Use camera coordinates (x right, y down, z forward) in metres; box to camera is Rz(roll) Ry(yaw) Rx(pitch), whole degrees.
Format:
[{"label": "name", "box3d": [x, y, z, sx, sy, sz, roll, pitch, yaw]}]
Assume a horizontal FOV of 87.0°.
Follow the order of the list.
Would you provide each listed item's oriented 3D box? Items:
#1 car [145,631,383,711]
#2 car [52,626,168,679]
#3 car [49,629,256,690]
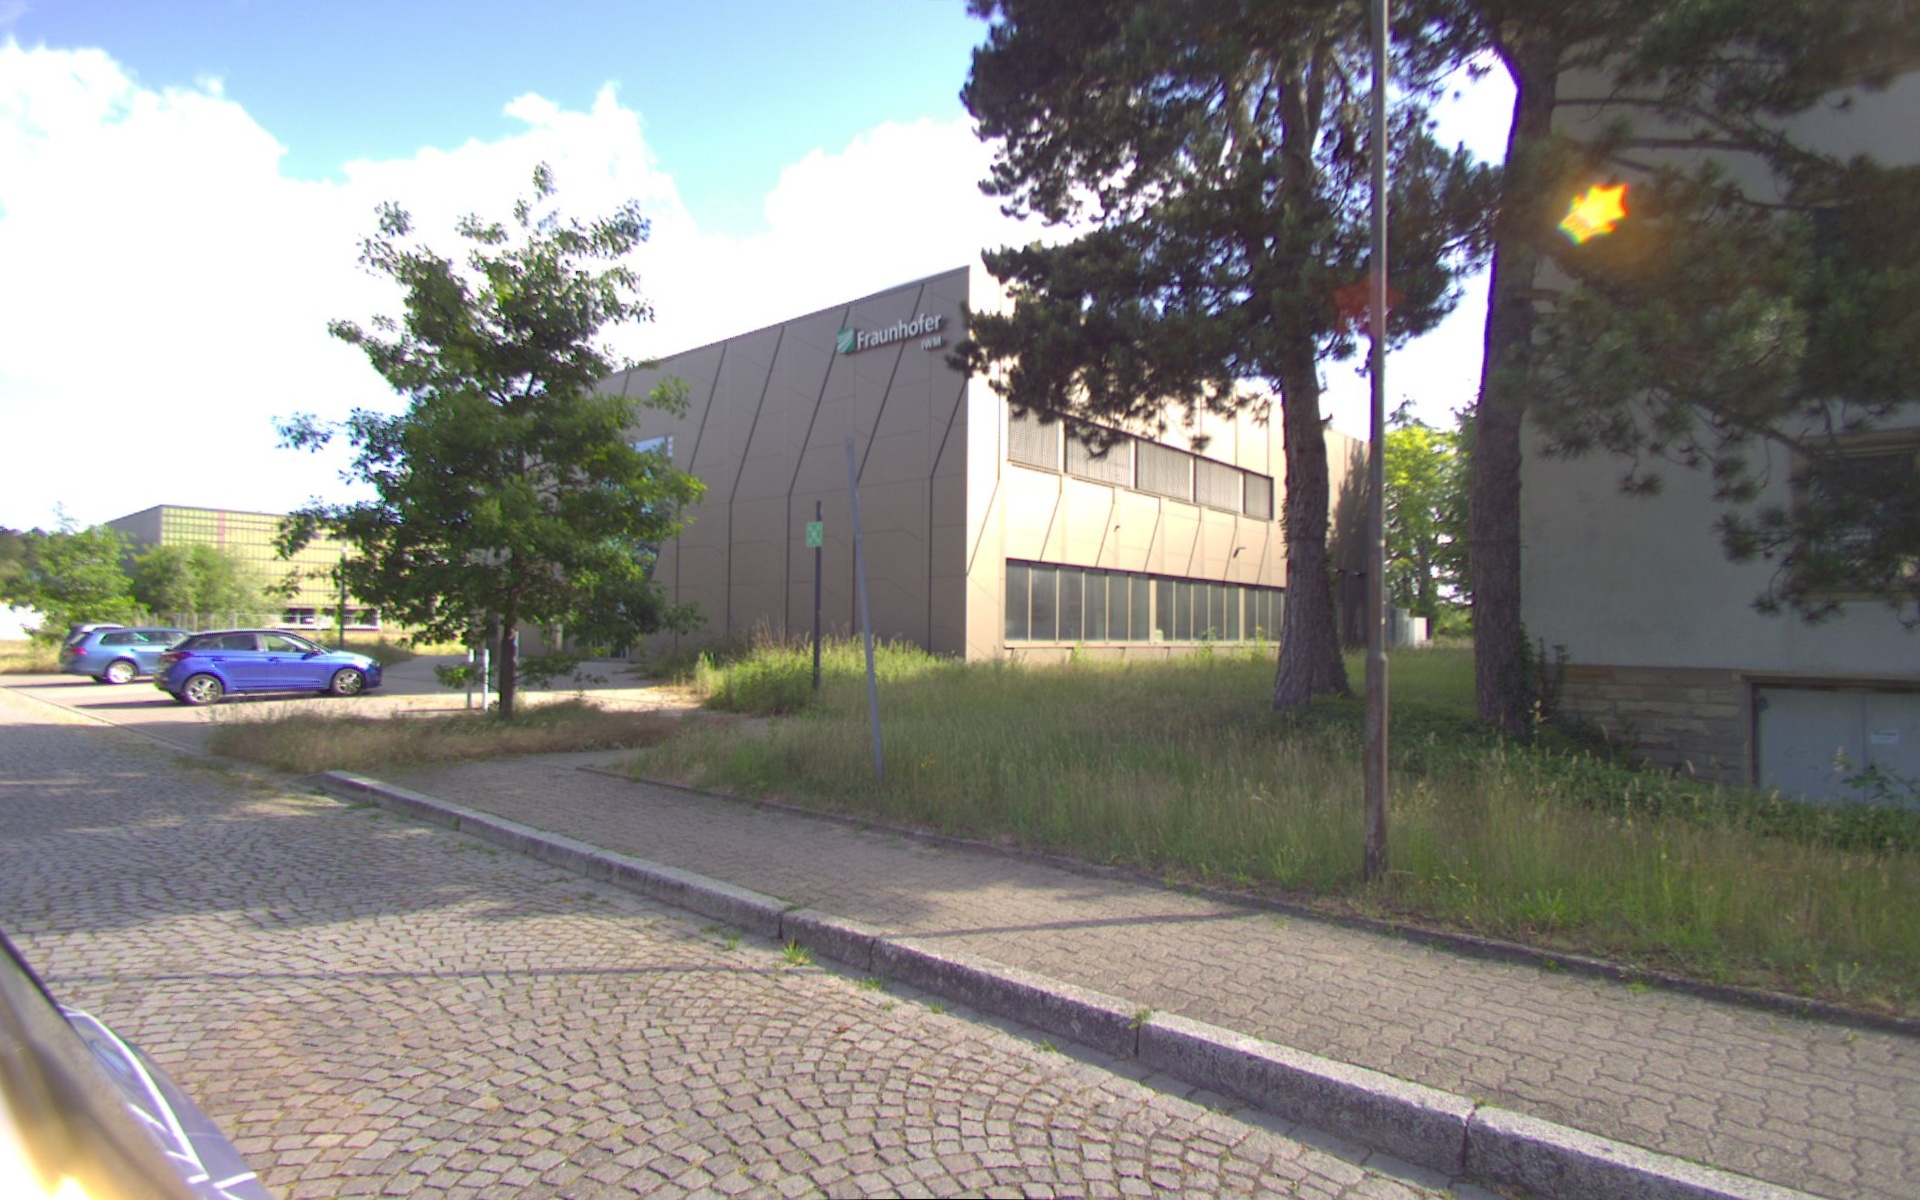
[{"label": "car", "box3d": [-14.593, 1.412, 21.348, 1.735, 1.479, 3.866, -1, -2, 43]}, {"label": "car", "box3d": [-27.242, 1.647, 32.459, 1.480, 1.580, 2.619, -1, -2, 39]}, {"label": "car", "box3d": [-21.813, 1.558, 27.489, 1.732, 1.485, 4.128, -1, -1, 38]}]
